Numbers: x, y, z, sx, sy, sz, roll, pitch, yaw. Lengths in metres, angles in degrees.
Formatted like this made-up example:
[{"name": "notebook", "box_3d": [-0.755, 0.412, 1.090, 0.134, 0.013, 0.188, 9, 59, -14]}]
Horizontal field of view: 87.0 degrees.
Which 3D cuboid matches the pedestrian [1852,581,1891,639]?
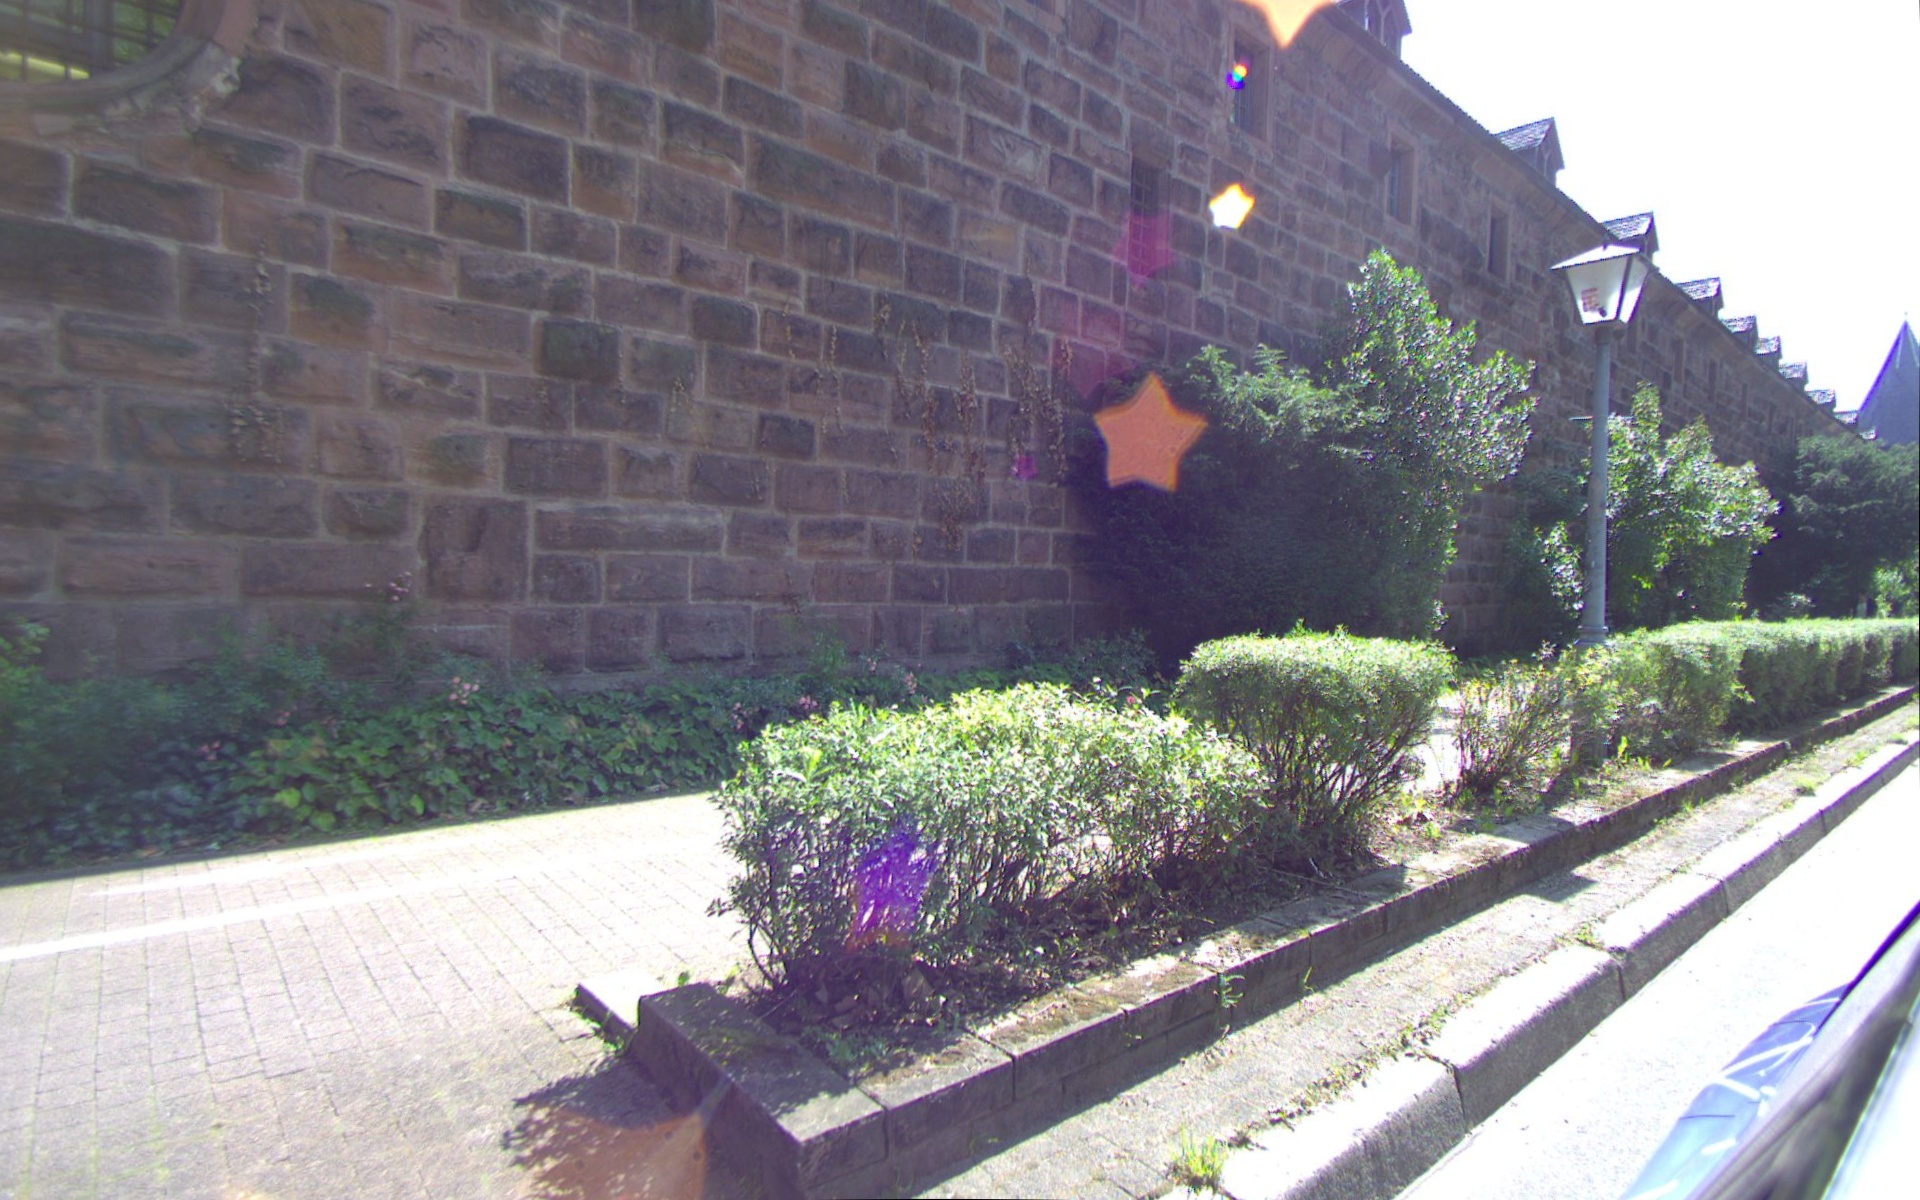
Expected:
[{"name": "pedestrian", "box_3d": [27.142, 0.278, 30.134, 0.692, 1.672, 0.700, 1, 2, -38]}]
